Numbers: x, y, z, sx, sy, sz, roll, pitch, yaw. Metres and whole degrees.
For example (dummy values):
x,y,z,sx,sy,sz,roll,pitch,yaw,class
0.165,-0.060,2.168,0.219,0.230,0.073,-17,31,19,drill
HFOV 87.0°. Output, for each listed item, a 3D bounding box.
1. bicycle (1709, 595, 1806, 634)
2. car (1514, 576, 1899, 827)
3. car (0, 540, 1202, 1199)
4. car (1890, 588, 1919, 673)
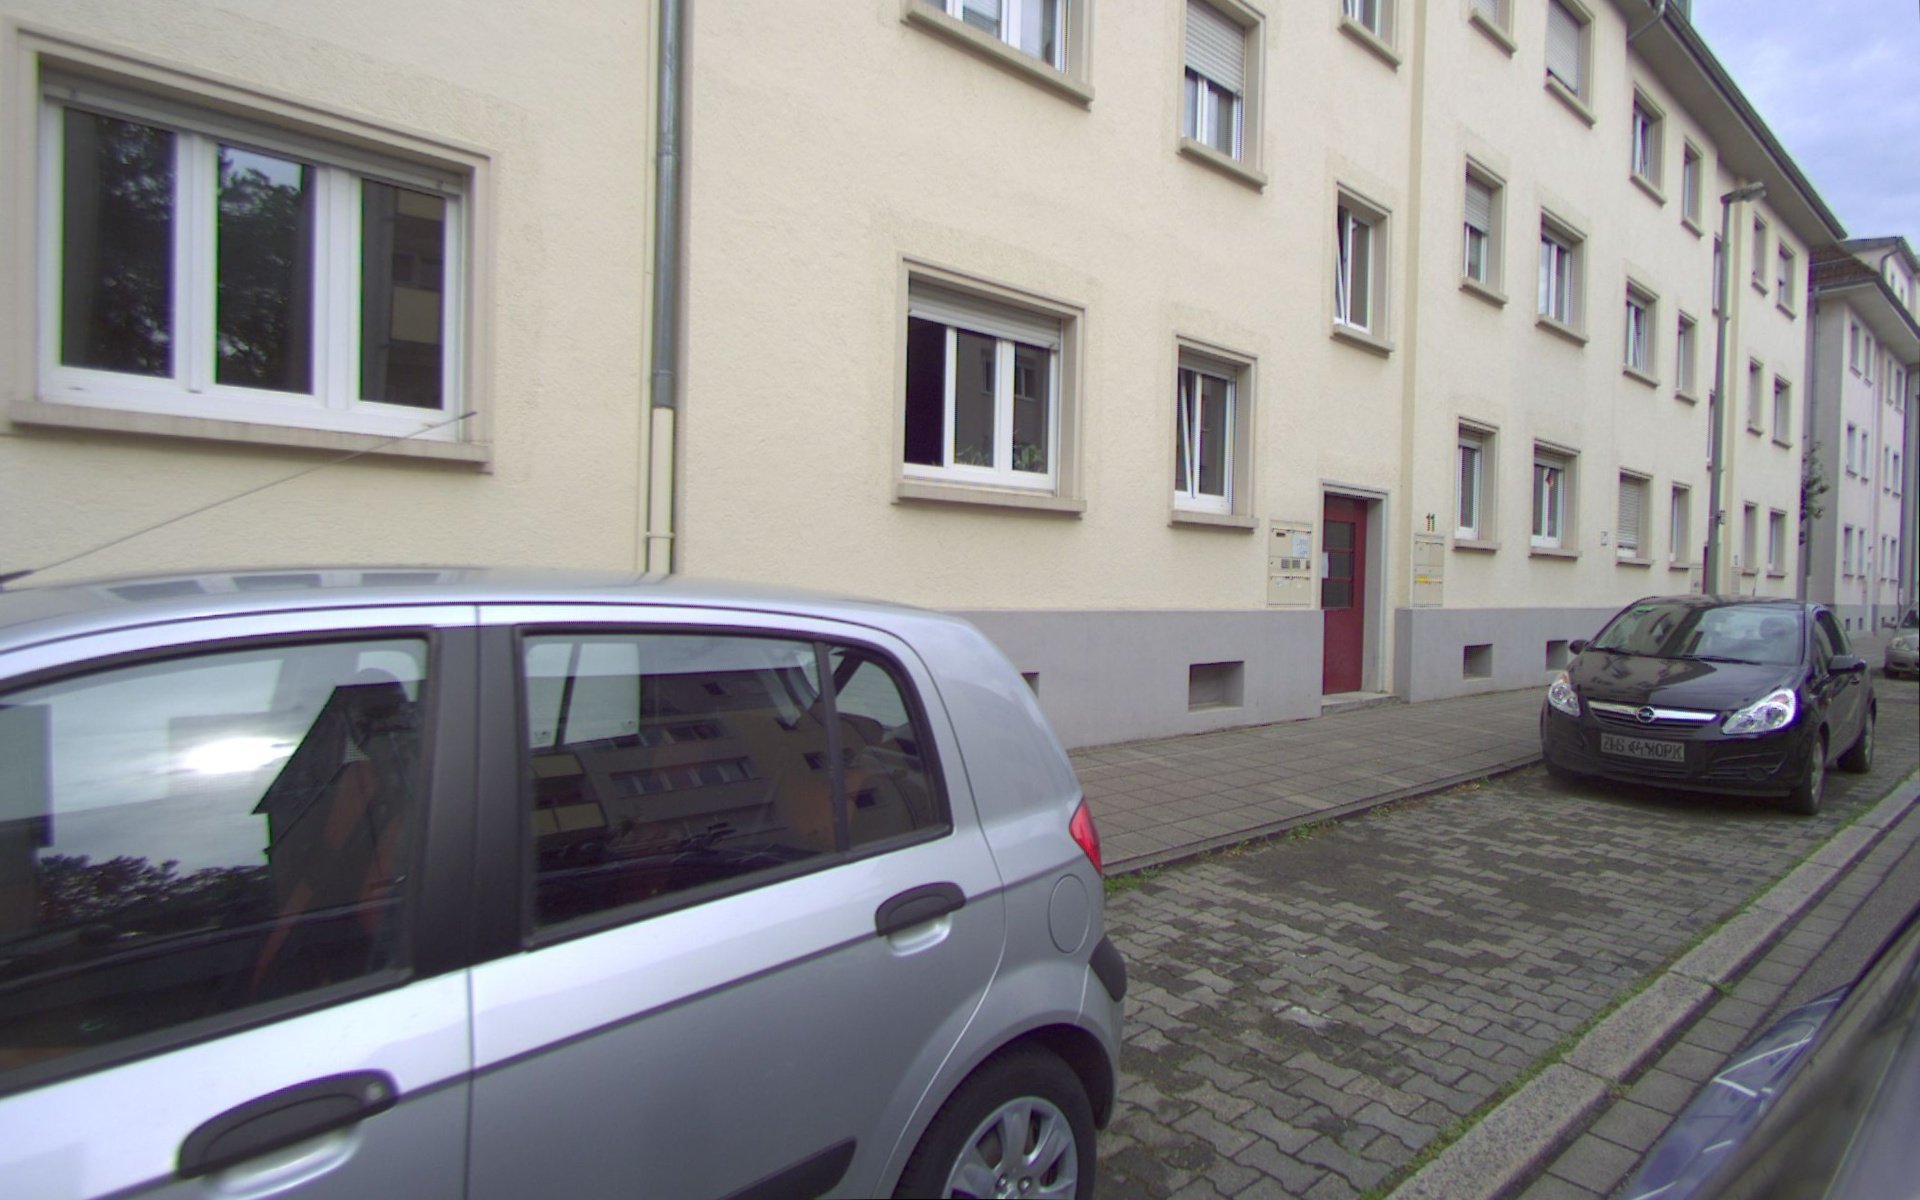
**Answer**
x,y,z,sx,sy,sz,roll,pitch,yaw,class
24.214,0.418,30.763,0.637,1.090,2.212,0,1,-40,bicycle
6.151,0.604,8.160,3.990,1.536,1.728,0,0,-42,car
-1.474,0.658,1.671,3.767,1.468,1.851,0,1,-42,car
19.212,0.570,19.323,3.990,1.536,1.728,0,2,-42,car
